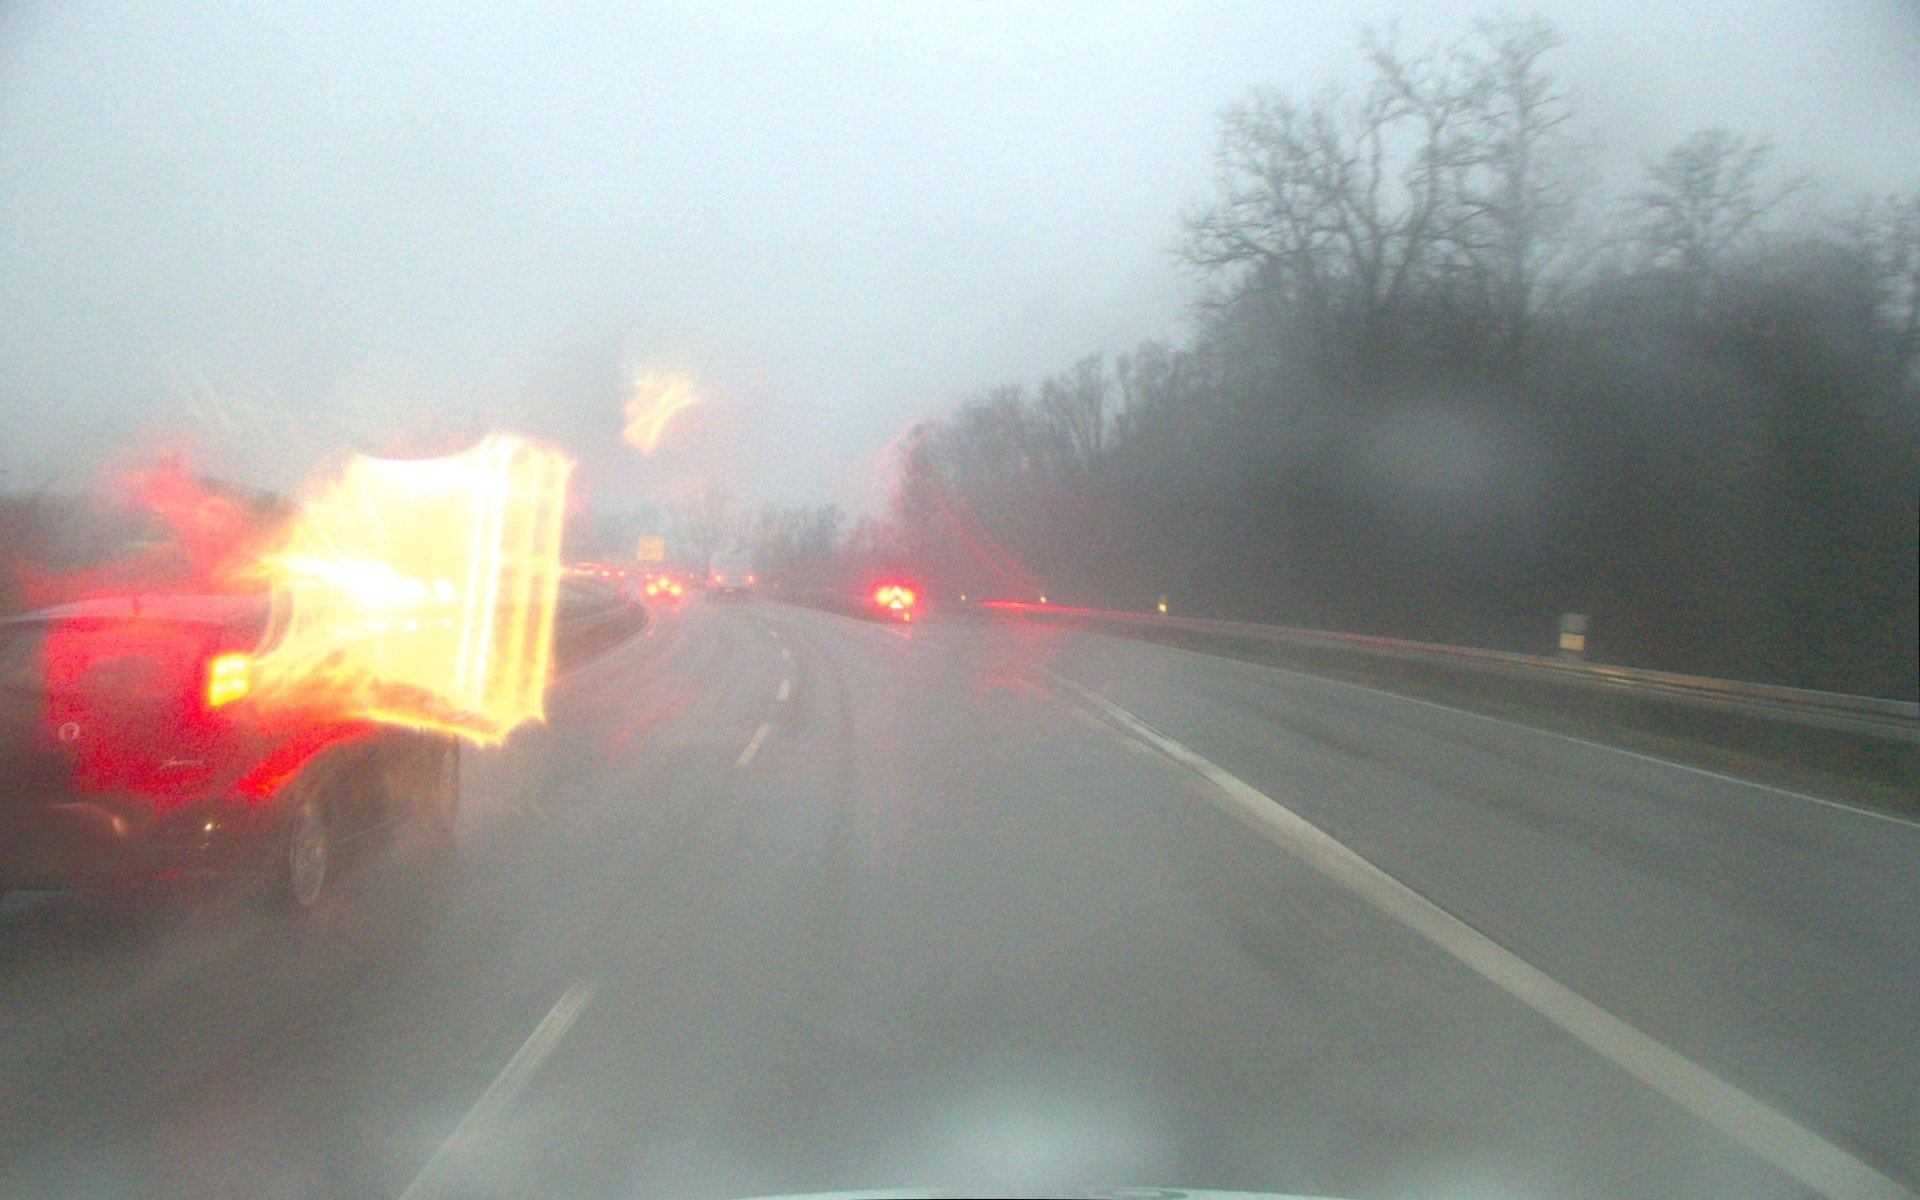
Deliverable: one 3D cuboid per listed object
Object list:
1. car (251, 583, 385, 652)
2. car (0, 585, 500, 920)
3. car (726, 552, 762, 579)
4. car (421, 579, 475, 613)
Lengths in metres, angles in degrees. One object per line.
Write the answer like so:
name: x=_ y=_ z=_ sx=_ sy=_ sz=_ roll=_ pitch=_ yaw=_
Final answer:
car: x=-16.788 y=0.432 z=43.508 sx=1.757 sy=1.713 sz=4.688 roll=0 pitch=0 yaw=-1
car: x=-3.712 y=0.699 z=9.233 sx=1.595 sy=1.416 sz=3.993 roll=3 pitch=-1 yaw=-8
car: x=-11.936 y=-1.914 z=91.419 sx=1.386 sy=1.340 sz=3.084 roll=2 pitch=0 yaw=3
car: x=-26.605 y=-0.210 z=86.096 sx=1.956 sy=1.702 sz=4.421 roll=0 pitch=1 yaw=-8
